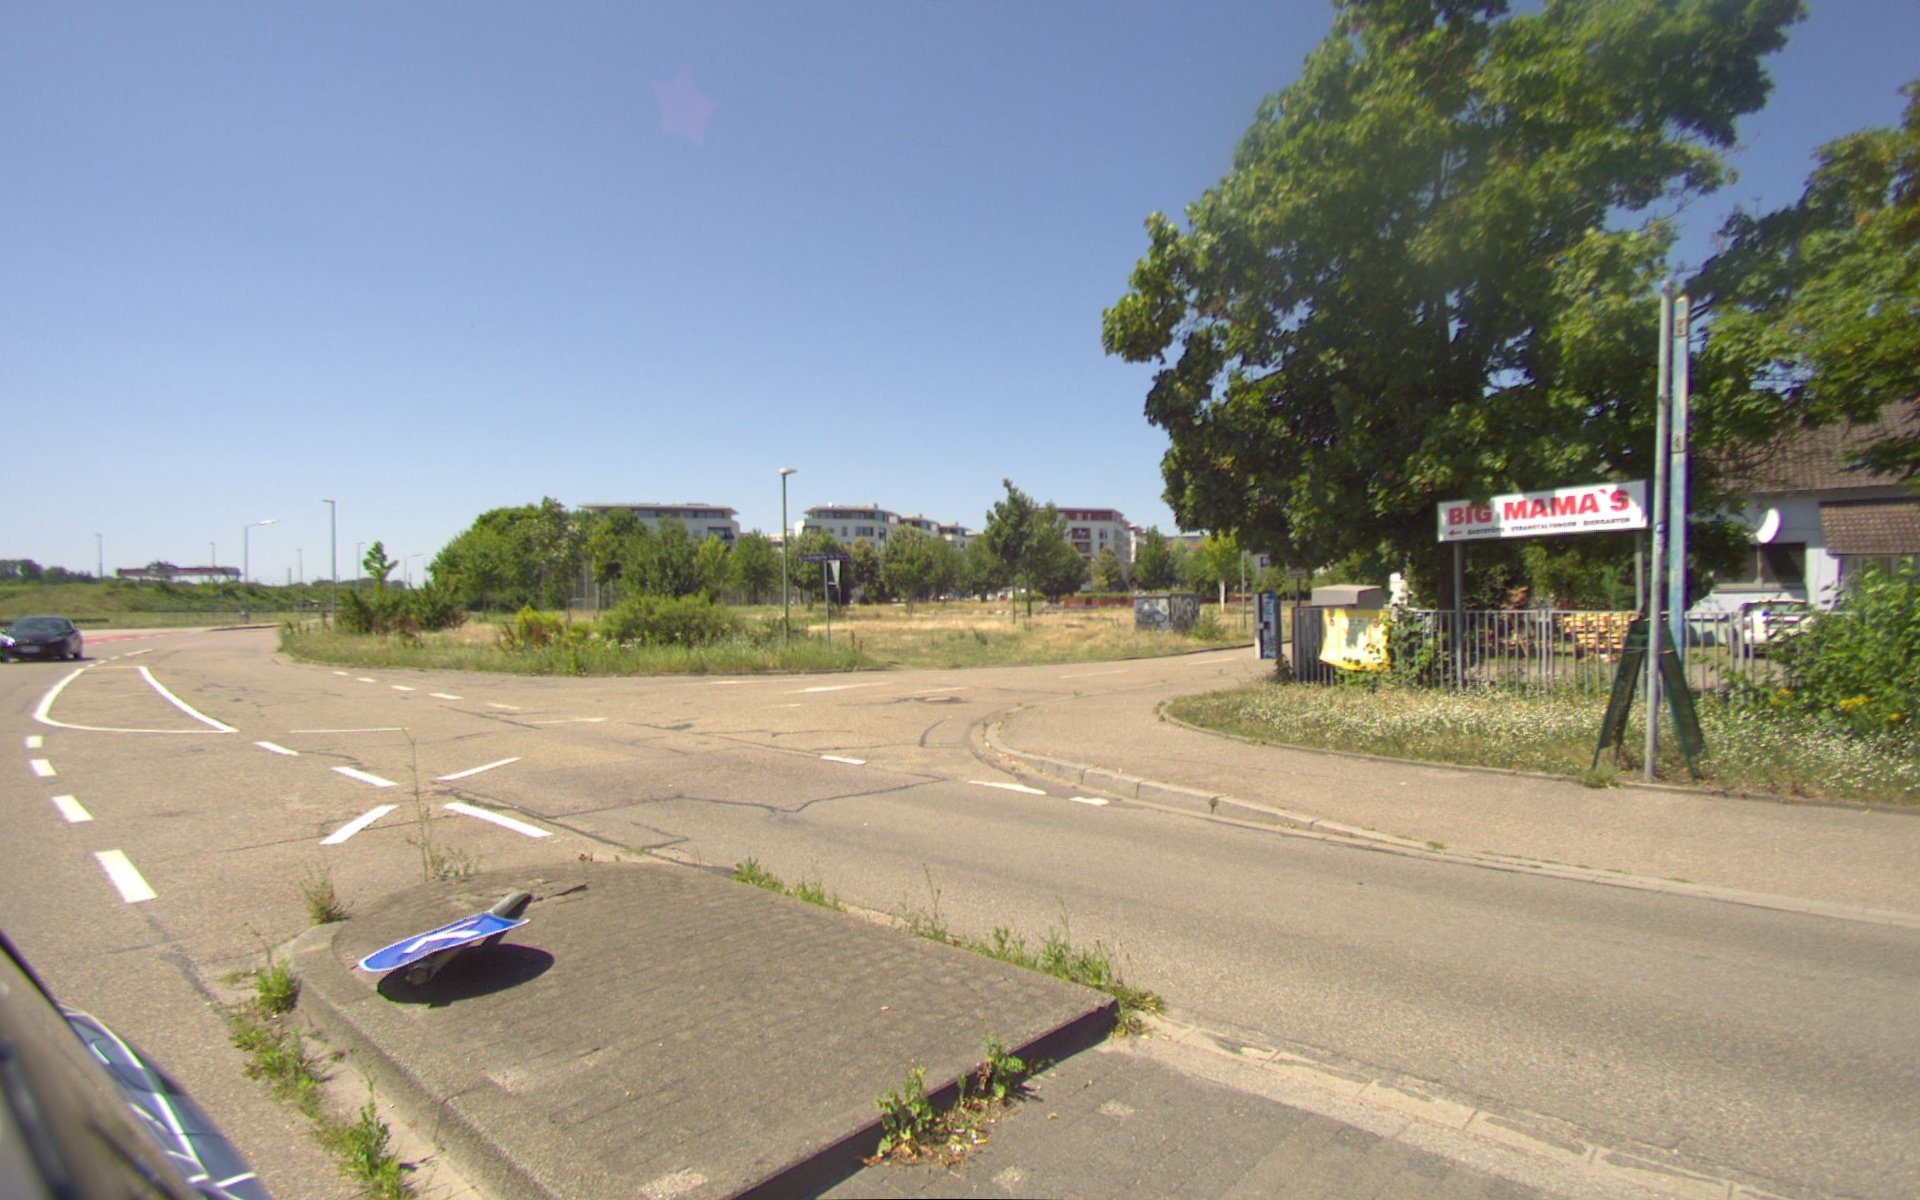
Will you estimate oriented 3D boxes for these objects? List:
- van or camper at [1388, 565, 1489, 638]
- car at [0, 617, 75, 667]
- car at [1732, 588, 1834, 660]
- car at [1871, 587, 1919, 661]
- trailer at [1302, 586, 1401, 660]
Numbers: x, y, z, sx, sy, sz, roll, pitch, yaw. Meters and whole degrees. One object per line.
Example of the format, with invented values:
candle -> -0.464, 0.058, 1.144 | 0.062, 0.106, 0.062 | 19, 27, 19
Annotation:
van or camper -> 18.577, 0.005, 39.157 | 2.490, 2.610, 4.408 | -1, 2, 40
car -> -29.742, 1.290, 32.466 | 1.628, 1.478, 4.170 | 0, 0, -36
car -> 19.701, 0.535, 24.177 | 1.772, 1.589, 3.299 | -1, 0, 41
car -> 21.558, 0.503, 22.559 | 1.772, 1.577, 3.299 | -1, -1, 41
trailer -> 11.610, 0.627, 29.910 | 1.759, 2.061, 3.379 | -1, 0, 40
